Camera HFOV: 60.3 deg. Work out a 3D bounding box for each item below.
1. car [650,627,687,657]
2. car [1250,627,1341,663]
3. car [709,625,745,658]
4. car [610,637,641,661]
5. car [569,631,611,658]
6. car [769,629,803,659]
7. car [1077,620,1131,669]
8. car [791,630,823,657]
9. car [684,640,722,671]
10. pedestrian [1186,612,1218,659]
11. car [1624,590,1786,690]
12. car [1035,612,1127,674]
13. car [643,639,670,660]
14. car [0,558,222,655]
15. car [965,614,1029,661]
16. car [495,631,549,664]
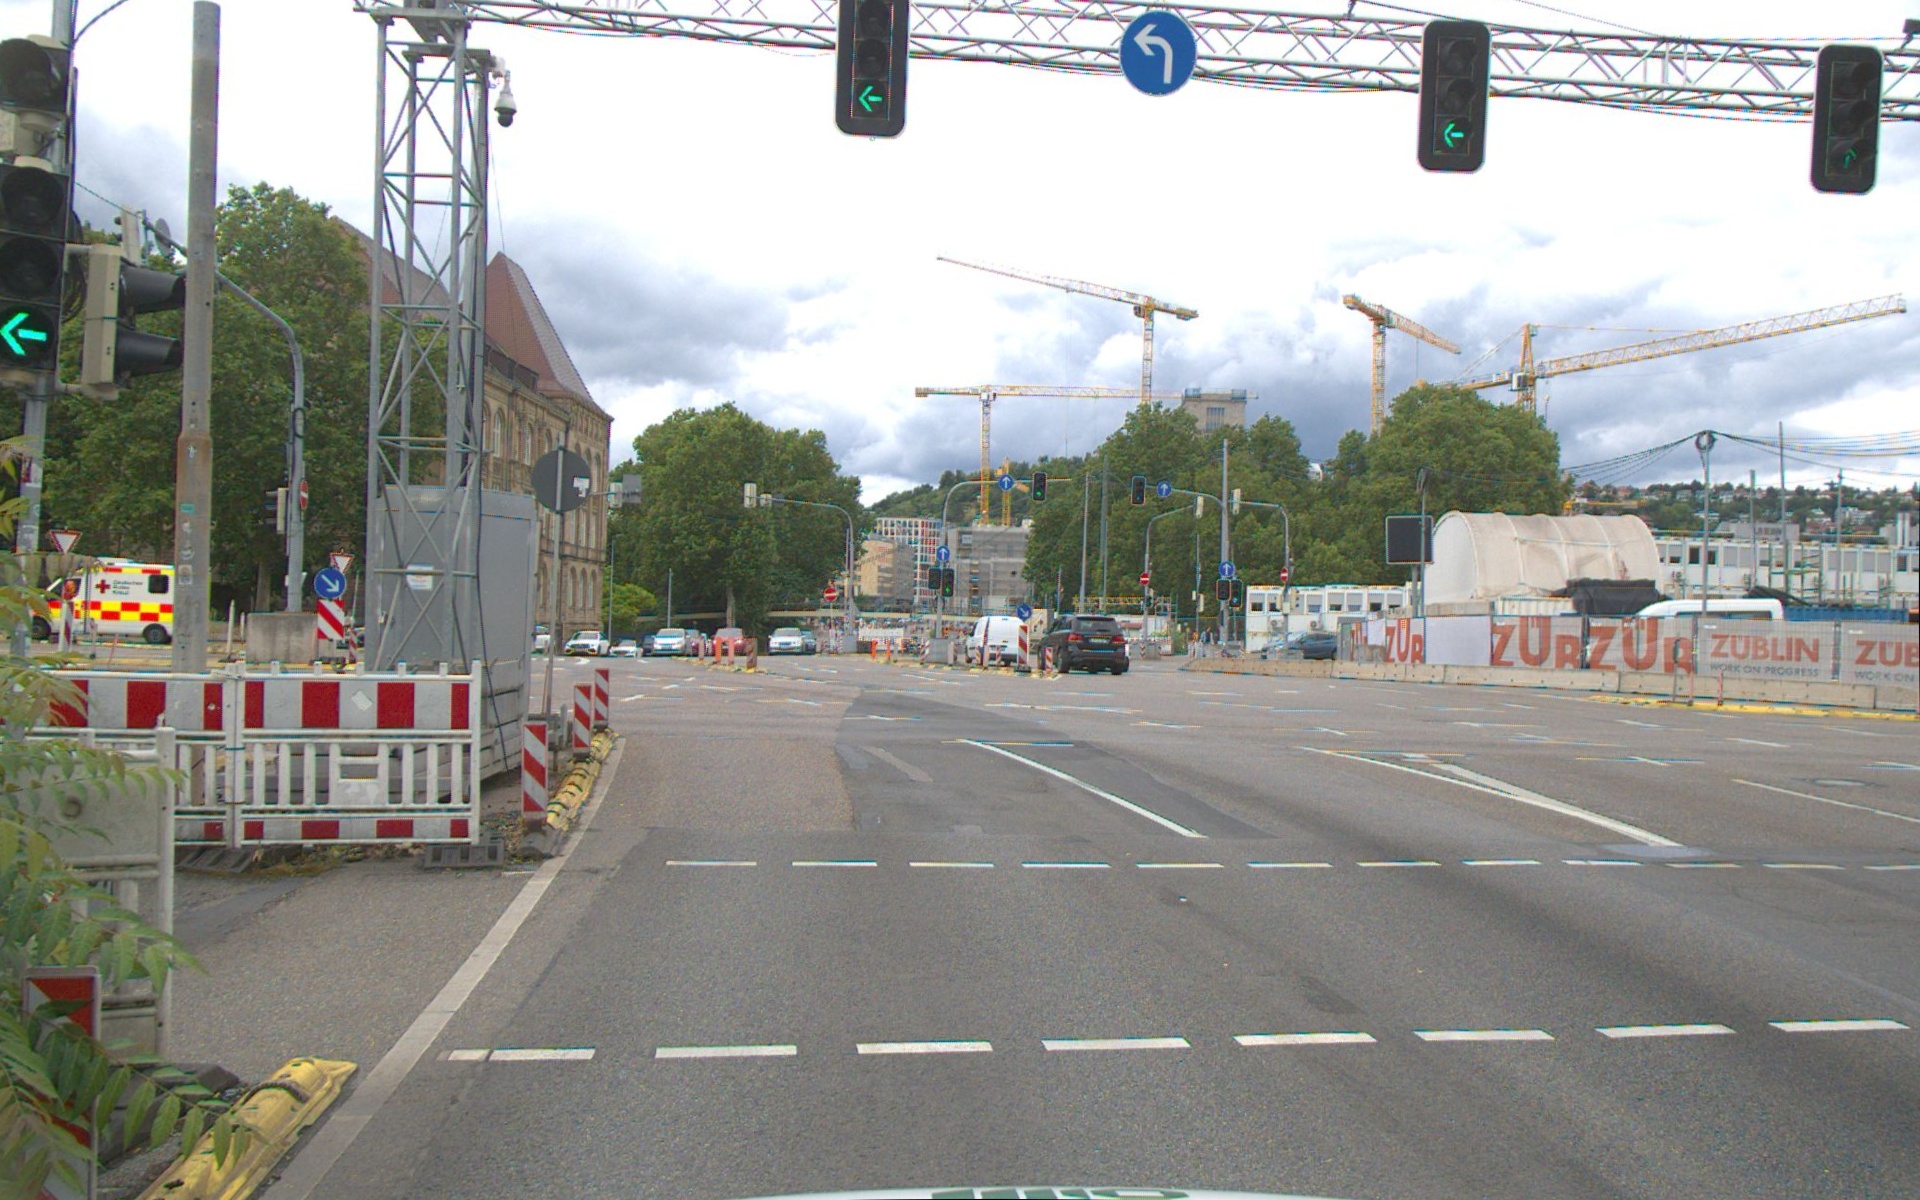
[{"bbox_3d":[-14.908,2.139,84.652,1.644,1.423,3.677,1,-1,-7],"label":"car"},{"bbox_3d":[16.049,2.161,79.158,3.927,1.653,1.813,1,-1,-19],"label":"car"},{"bbox_3d":[-11.780,2.086,83.778,1.644,1.608,3.677,1,-1,-7],"label":"car"},{"bbox_3d":[-21.557,3.151,106.644,1.644,1.423,3.677,1,-1,-7],"label":"car"},{"bbox_3d":[-20.707,2.478,92.590,1.642,1.423,3.681,1,-1,-3],"label":"car"},{"bbox_3d":[-8.853,2.230,84.080,1.644,1.423,3.677,1,-1,-7],"label":"car"},{"bbox_3d":[5.254,1.609,60.735,1.642,1.732,3.374,1,-1,-1],"label":"car"},{"bbox_3d":[-8.443,2.398,91.088,1.644,1.423,3.677,1,-1,-7],"label":"car"},{"bbox_3d":[-12.558,2.699,80.978,1.644,1.423,3.677,1,-1,-7],"label":"car"},{"bbox_3d":[10.850,1.592,74.289,1.075,2.049,1.181,1,-1,-12],"label":"pedestrian"},{"bbox_3d":[21.014,1.116,46.807,3.902,2.708,1.683,1,-1,13],"label":"car"},{"bbox_3d":[3.596,1.260,49.924,1.798,1.776,4.245,1,-1,-10],"label":"car"},{"bbox_3d":[-21.791,3.522,118.839,1.644,1.423,3.677,1,-1,-7],"label":"car"},{"bbox_3d":[-28.922,0.246,56.157,6.624,3.106,2.363,1,-1,-14],"label":"car"},{"bbox_3d":[1.342,1.373,61.438,1.782,1.653,3.993,1,-1,-7],"label":"car"},{"bbox_3d":[-20.344,2.197,77.024,1.642,1.423,3.681,1,-1,-2],"label":"car"}]
